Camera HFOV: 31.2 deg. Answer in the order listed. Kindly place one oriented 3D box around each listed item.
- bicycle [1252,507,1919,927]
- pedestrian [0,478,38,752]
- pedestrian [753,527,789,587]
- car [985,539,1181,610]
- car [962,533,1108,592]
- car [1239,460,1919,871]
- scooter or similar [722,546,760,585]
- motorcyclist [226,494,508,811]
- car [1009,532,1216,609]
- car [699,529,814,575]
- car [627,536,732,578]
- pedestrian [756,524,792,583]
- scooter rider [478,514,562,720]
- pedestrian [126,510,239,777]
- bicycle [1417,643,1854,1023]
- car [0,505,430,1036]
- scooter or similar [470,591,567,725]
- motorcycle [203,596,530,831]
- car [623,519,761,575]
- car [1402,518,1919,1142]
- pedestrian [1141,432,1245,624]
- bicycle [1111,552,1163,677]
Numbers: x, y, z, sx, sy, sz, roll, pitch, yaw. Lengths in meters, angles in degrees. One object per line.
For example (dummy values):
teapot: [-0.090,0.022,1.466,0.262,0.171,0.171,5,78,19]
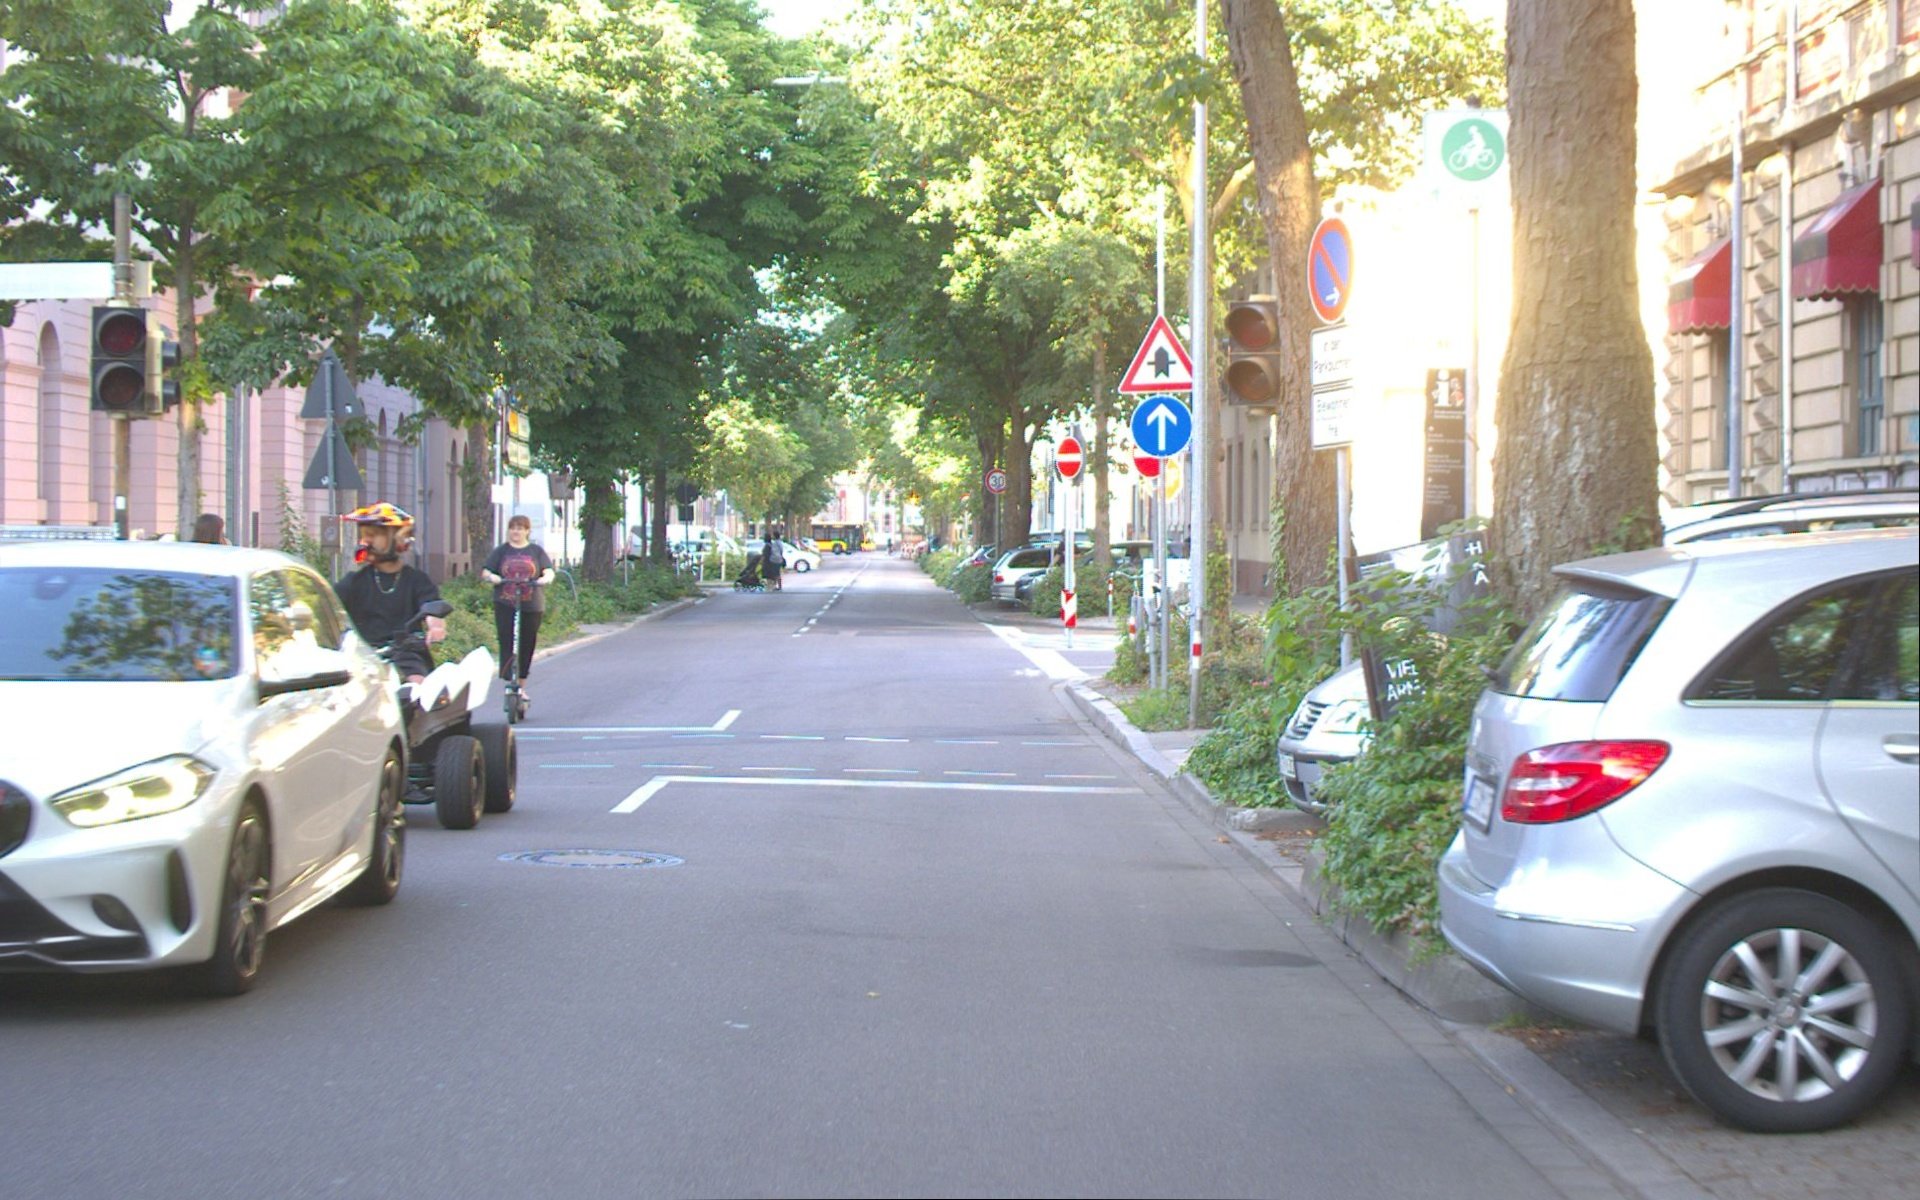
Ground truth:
bicycle: [2.831,0.480,14.294,3.112,1.657,0.658,1,1,-5]
pedestrian: [-6.617,0.078,22.624,0.790,1.785,0.771,3,2,2]
pedestrian: [-5.328,-1.214,96.916,0.875,1.644,0.655,1,1,7]
car: [2.685,-0.565,75.740,4.192,1.475,1.852,-1,1,-1]
car: [2.100,-1.061,96.670,4.014,1.617,1.781,0,1,-2]
car: [3.786,0.278,17.164,4.539,1.908,1.950,0,1,-3]
scooter or similar: [-6.219,-0.988,97.793,0.896,1.085,0.845,1,1,8]
motorcyclist: [-3.046,0.254,17.788,1.280,1.586,1.077,0,1,-1]
car: [3.120,-0.620,70.877,4.107,1.485,1.850,1,2,-2]
car: [-9.151,-2.172,154.965,5.064,2.076,2.263,0,1,1]
car: [-10.115,-1.573,124.112,3.725,1.503,1.873,0,1,-4]
pedestrian: [-5.281,-1.321,97.697,0.875,1.644,0.655,1,1,7]
scooter rider: [-3.860,0.141,30.188,0.494,1.785,0.874,0,0,9]
pedestrian: [-5.589,0.302,24.715,0.768,1.882,0.793,0,1,-13]
bicycle: [2.220,0.757,11.374,1.337,1.200,0.488,-1,1,-1]
car: [-3.164,0.454,12.140,1.877,1.543,4.275,0,1,1]
scooter or similar: [-3.866,0.496,30.186,0.502,1.141,1.249,0,0,9]
motorcycle: [-3.025,0.549,17.841,1.312,1.086,2.397,0,1,-1]
car: [-10.053,-1.998,129.501,5.064,2.076,2.263,0,1,-1]
car: [3.438,0.552,9.551,4.225,1.555,1.971,0,2,2]
pedestrian: [2.658,-0.822,39.357,1.043,2.139,1.063,2,0,-1]
bicycle: [1.980,0.151,38.322,0.417,1.367,1.288,0,1,10]
